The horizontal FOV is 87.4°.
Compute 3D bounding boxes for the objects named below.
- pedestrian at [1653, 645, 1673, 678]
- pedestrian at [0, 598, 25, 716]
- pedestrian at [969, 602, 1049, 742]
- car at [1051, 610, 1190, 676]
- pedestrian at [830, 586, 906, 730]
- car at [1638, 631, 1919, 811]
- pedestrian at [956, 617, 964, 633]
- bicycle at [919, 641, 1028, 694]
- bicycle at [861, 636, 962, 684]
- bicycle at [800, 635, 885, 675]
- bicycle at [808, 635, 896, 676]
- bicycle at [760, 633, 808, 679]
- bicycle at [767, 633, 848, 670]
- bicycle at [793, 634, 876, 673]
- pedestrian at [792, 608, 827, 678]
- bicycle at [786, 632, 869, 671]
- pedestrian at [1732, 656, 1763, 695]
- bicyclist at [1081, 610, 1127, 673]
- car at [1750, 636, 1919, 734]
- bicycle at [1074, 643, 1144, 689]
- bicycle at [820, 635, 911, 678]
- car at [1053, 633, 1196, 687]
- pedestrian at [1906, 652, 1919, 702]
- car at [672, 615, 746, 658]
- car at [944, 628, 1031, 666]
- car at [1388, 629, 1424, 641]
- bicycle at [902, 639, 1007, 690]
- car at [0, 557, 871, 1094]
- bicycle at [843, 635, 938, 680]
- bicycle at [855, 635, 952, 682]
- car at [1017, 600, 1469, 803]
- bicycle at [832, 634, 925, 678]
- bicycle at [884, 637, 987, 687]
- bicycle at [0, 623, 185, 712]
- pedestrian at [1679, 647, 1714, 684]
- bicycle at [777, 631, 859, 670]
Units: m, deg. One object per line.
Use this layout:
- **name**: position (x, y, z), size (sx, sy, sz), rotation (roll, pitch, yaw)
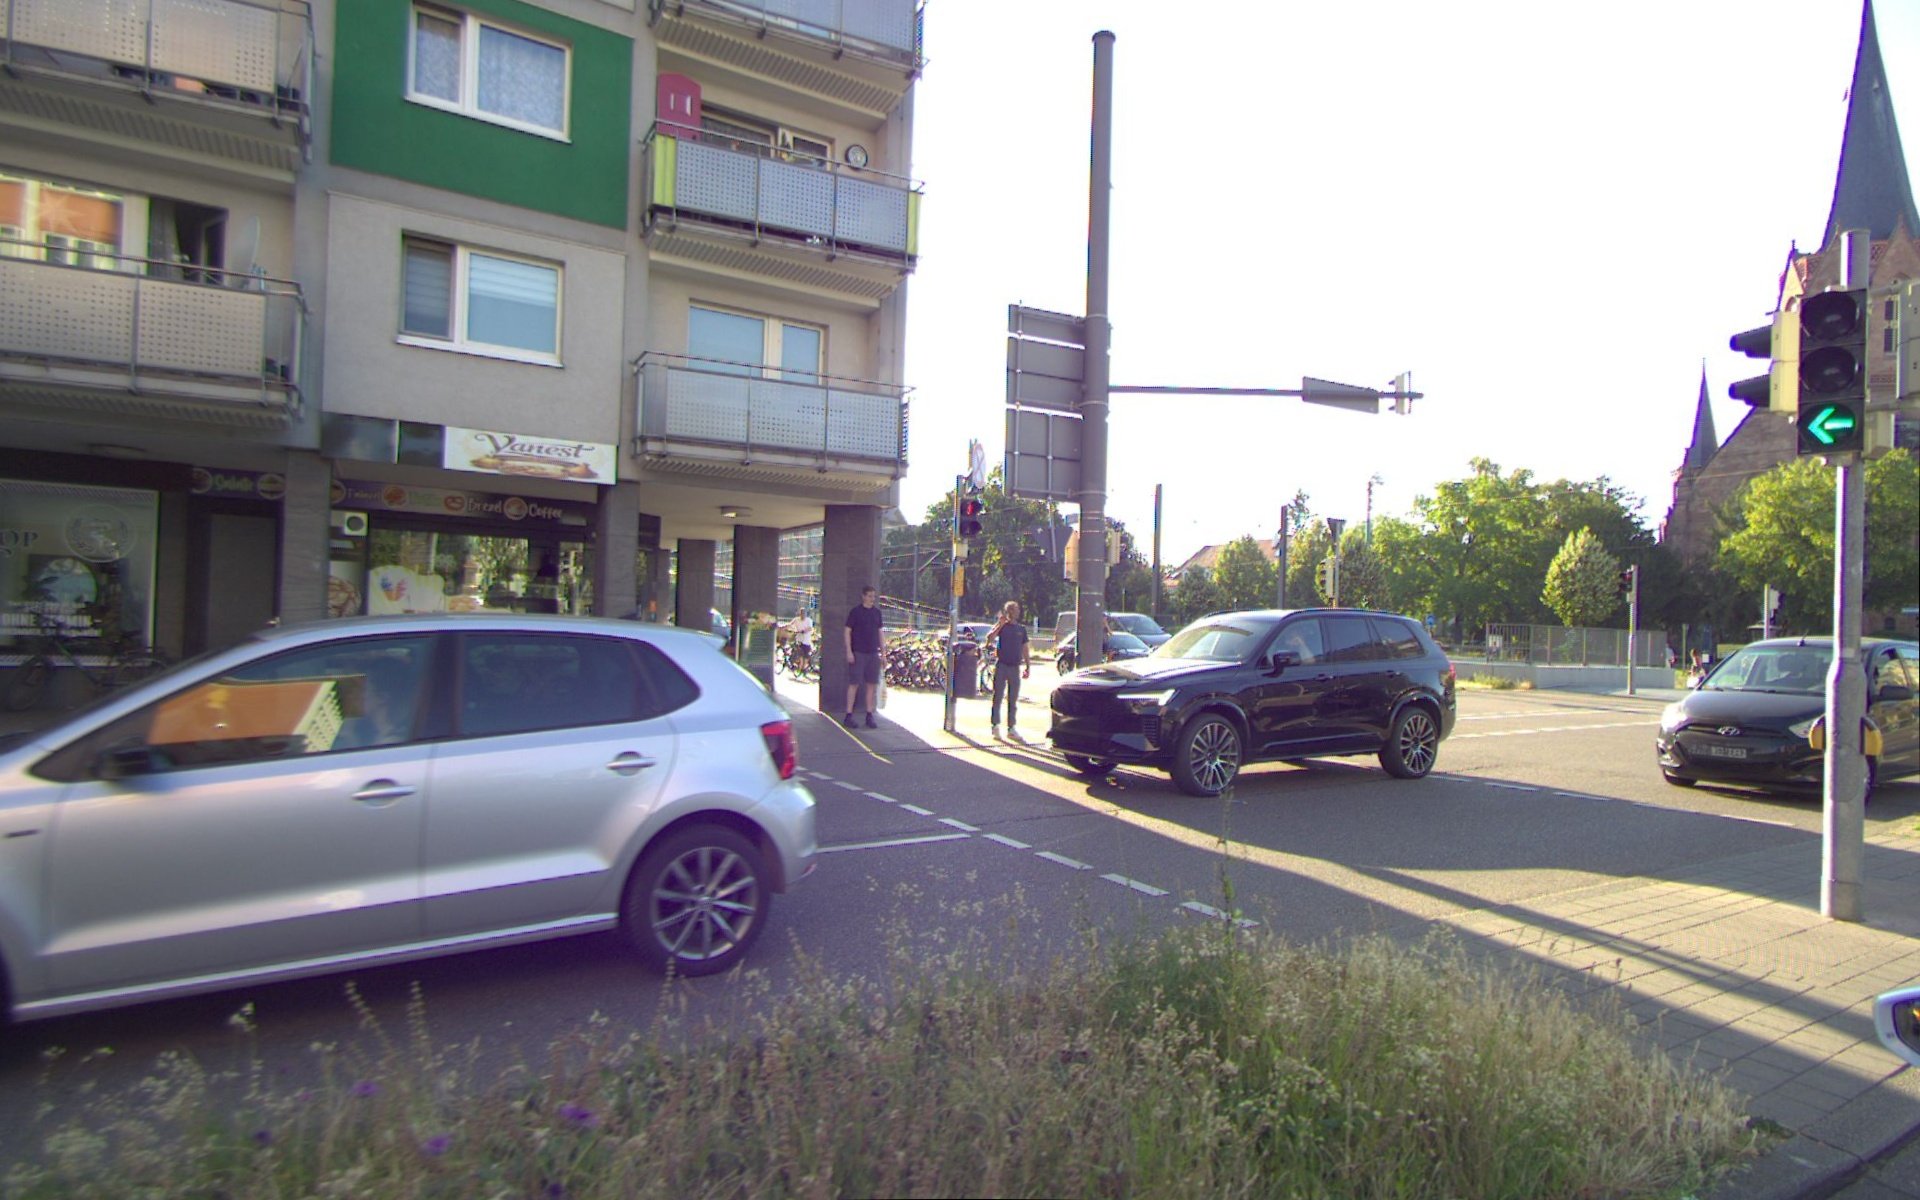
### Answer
- **pedestrian**: position (38.920, 3.404, 55.611), size (0.831, 1.719, 1.013), rotation (3, 0, 36)
- **pedestrian**: position (-11.201, 0.636, 11.270), size (0.613, 1.331, 0.811), rotation (1, -1, 17)
- **pedestrian**: position (0.656, 0.956, 13.550), size (0.802, 1.811, 0.606), rotation (2, 2, -26)
- **car**: position (5.354, 1.425, 34.167), size (1.978, 2.040, 4.897), rotation (3, -1, -31)
- **pedestrian**: position (-1.273, 0.788, 13.867), size (0.802, 1.900, 0.605), rotation (2, 2, -29)
- **car**: position (8.713, 1.124, 10.307), size (3.436, 1.565, 1.571), rotation (2, -2, -30)
- **pedestrian**: position (-0.040, 2.852, 116.471), size (0.677, 1.847, 0.532), rotation (3, -1, -26)
- **bicycle**: position (0.305, 1.449, 21.659), size (2.273, 1.065, 0.731), rotation (3, -1, -31)
- **bicycle**: position (-1.125, 1.427, 23.605), size (2.273, 1.065, 0.731), rotation (3, -1, -31)
- **bicycle**: position (-3.242, 1.528, 27.868), size (2.273, 1.065, 0.558), rotation (3, -1, -31)
- **bicycle**: position (-2.922, 1.517, 27.279), size (2.273, 1.065, 0.731), rotation (3, -1, -31)
- **bicycle**: position (-4.504, 1.397, 25.611), size (0.514, 1.106, 2.050), rotation (1, -2, -30)
- **bicycle**: position (-4.578, 1.559, 30.275), size (2.273, 1.065, 0.731), rotation (3, -1, -31)
- **bicycle**: position (-3.530, 1.519, 28.380), size (2.273, 1.065, 0.558), rotation (3, -1, -31)
- **pedestrian**: position (-3.853, 1.093, 25.699), size (0.677, 1.745, 0.605), rotation (2, 0, -30)
- **bicycle**: position (-3.802, 1.493, 28.892), size (2.273, 1.065, 0.642), rotation (3, -1, -31)
- **pedestrian**: position (36.398, 3.496, 46.455), size (0.696, 1.719, 0.896), rotation (3, 0, 7)
- **bicyclist**: position (3.794, 1.094, 26.535), size (0.951, 1.619, 0.733), rotation (1, -2, -30)
- **car**: position (16.431, 1.470, 18.368), size (4.099, 1.586, 1.786), rotation (1, -1, -31)
- **bicycle**: position (3.897, 1.712, 26.328), size (0.940, 1.112, 1.769), rotation (1, -2, -29)
- **bicycle**: position (-2.492, 1.510, 26.594), size (2.273, 1.065, 0.731), rotation (3, -1, -31)
- **car**: position (4.642, 1.682, 28.866), size (1.781, 1.330, 4.165), rotation (3, -2, -31)
- **pedestrian**: position (34.854, 2.797, 36.142), size (0.802, 1.762, 0.961), rotation (3, -1, -28)
- **car**: position (-9.840, 1.385, 39.220), size (1.677, 1.528, 3.966), rotation (3, -2, -31)
- **car**: position (1.084, 1.908, 41.352), size (1.781, 1.392, 3.880), rotation (3, -2, -31)
- **car**: position (65.784, 5.123, 148.240), size (1.984, 1.592, 4.412), rotation (3, -2, -40)
- **bicycle**: position (-0.111, 1.447, 22.347), size (2.273, 1.065, 0.731), rotation (3, -1, -31)
- **car**: position (-2.426, 0.707, 4.125), size (3.761, 1.565, 1.668), rotation (2, -2, -30)
- **bicycle**: position (-1.740, 1.440, 25.215), size (2.273, 1.065, 0.731), rotation (3, -1, -31)
- **bicycle**: position (-1.362, 1.437, 24.521), size (2.273, 1.065, 0.731), rotation (3, -1, -31)
- **car**: position (3.066, 0.960, 10.568), size (4.729, 1.733, 1.808), rotation (2, -2, -30)
- **bicycle**: position (-2.096, 1.442, 25.898), size (2.273, 1.065, 0.731), rotation (3, -1, -31)
- **bicycle**: position (-0.540, 1.426, 23.034), size (2.273, 1.065, 0.731), rotation (3, -1, -31)
- **bicycle**: position (-10.600, 0.821, 12.317), size (1.683, 1.012, 0.619), rotation (3, -2, -40)
- **pedestrian**: position (36.166, 3.193, 49.332), size (0.829, 1.719, 1.016), rotation (2, 0, -5)
- **bicycle**: position (-4.179, 1.485, 29.583), size (2.273, 1.065, 0.731), rotation (3, -1, -31)
